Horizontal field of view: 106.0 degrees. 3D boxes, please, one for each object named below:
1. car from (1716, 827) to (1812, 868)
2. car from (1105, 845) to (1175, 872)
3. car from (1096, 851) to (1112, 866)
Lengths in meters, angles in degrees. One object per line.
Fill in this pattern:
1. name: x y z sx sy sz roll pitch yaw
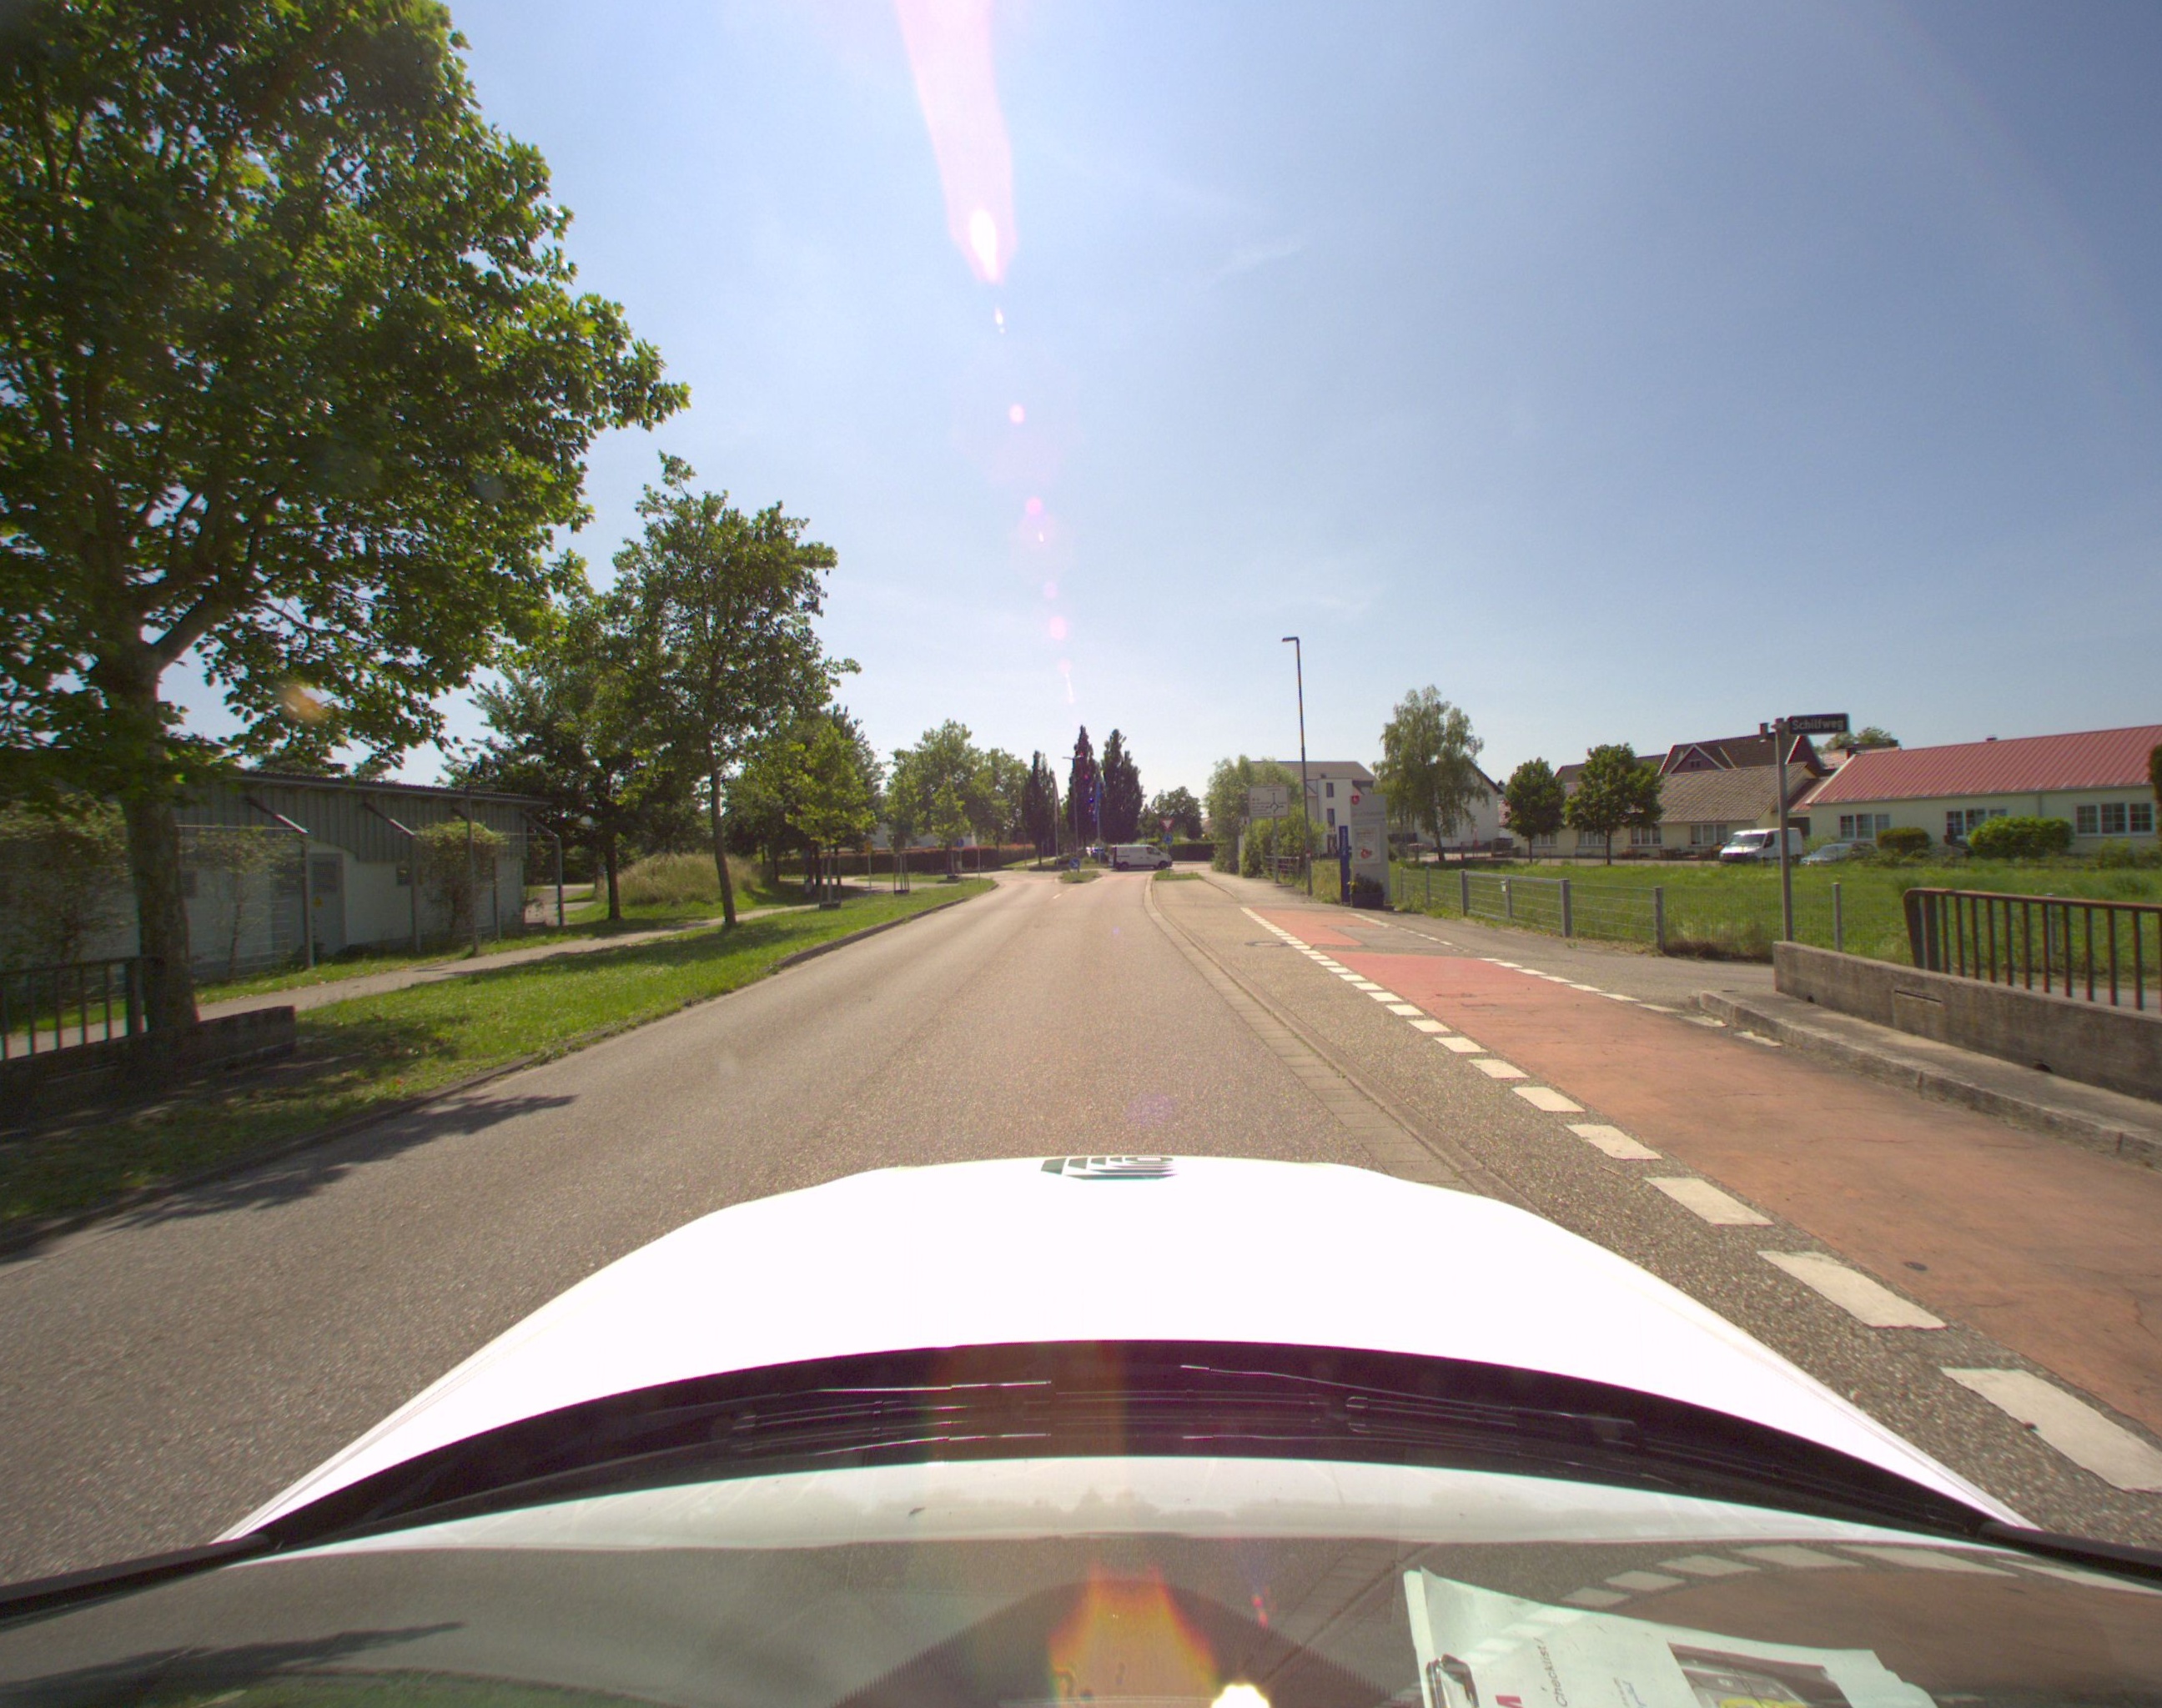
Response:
1. car: 39.087 -0.368 46.588 5.193 2.201 2.197 -1 0 -25
2. car: 4.599 0.337 63.658 5.131 2.014 2.128 -1 0 -10
3. car: 2.947 0.547 105.863 1.916 1.886 4.000 -1 0 0
